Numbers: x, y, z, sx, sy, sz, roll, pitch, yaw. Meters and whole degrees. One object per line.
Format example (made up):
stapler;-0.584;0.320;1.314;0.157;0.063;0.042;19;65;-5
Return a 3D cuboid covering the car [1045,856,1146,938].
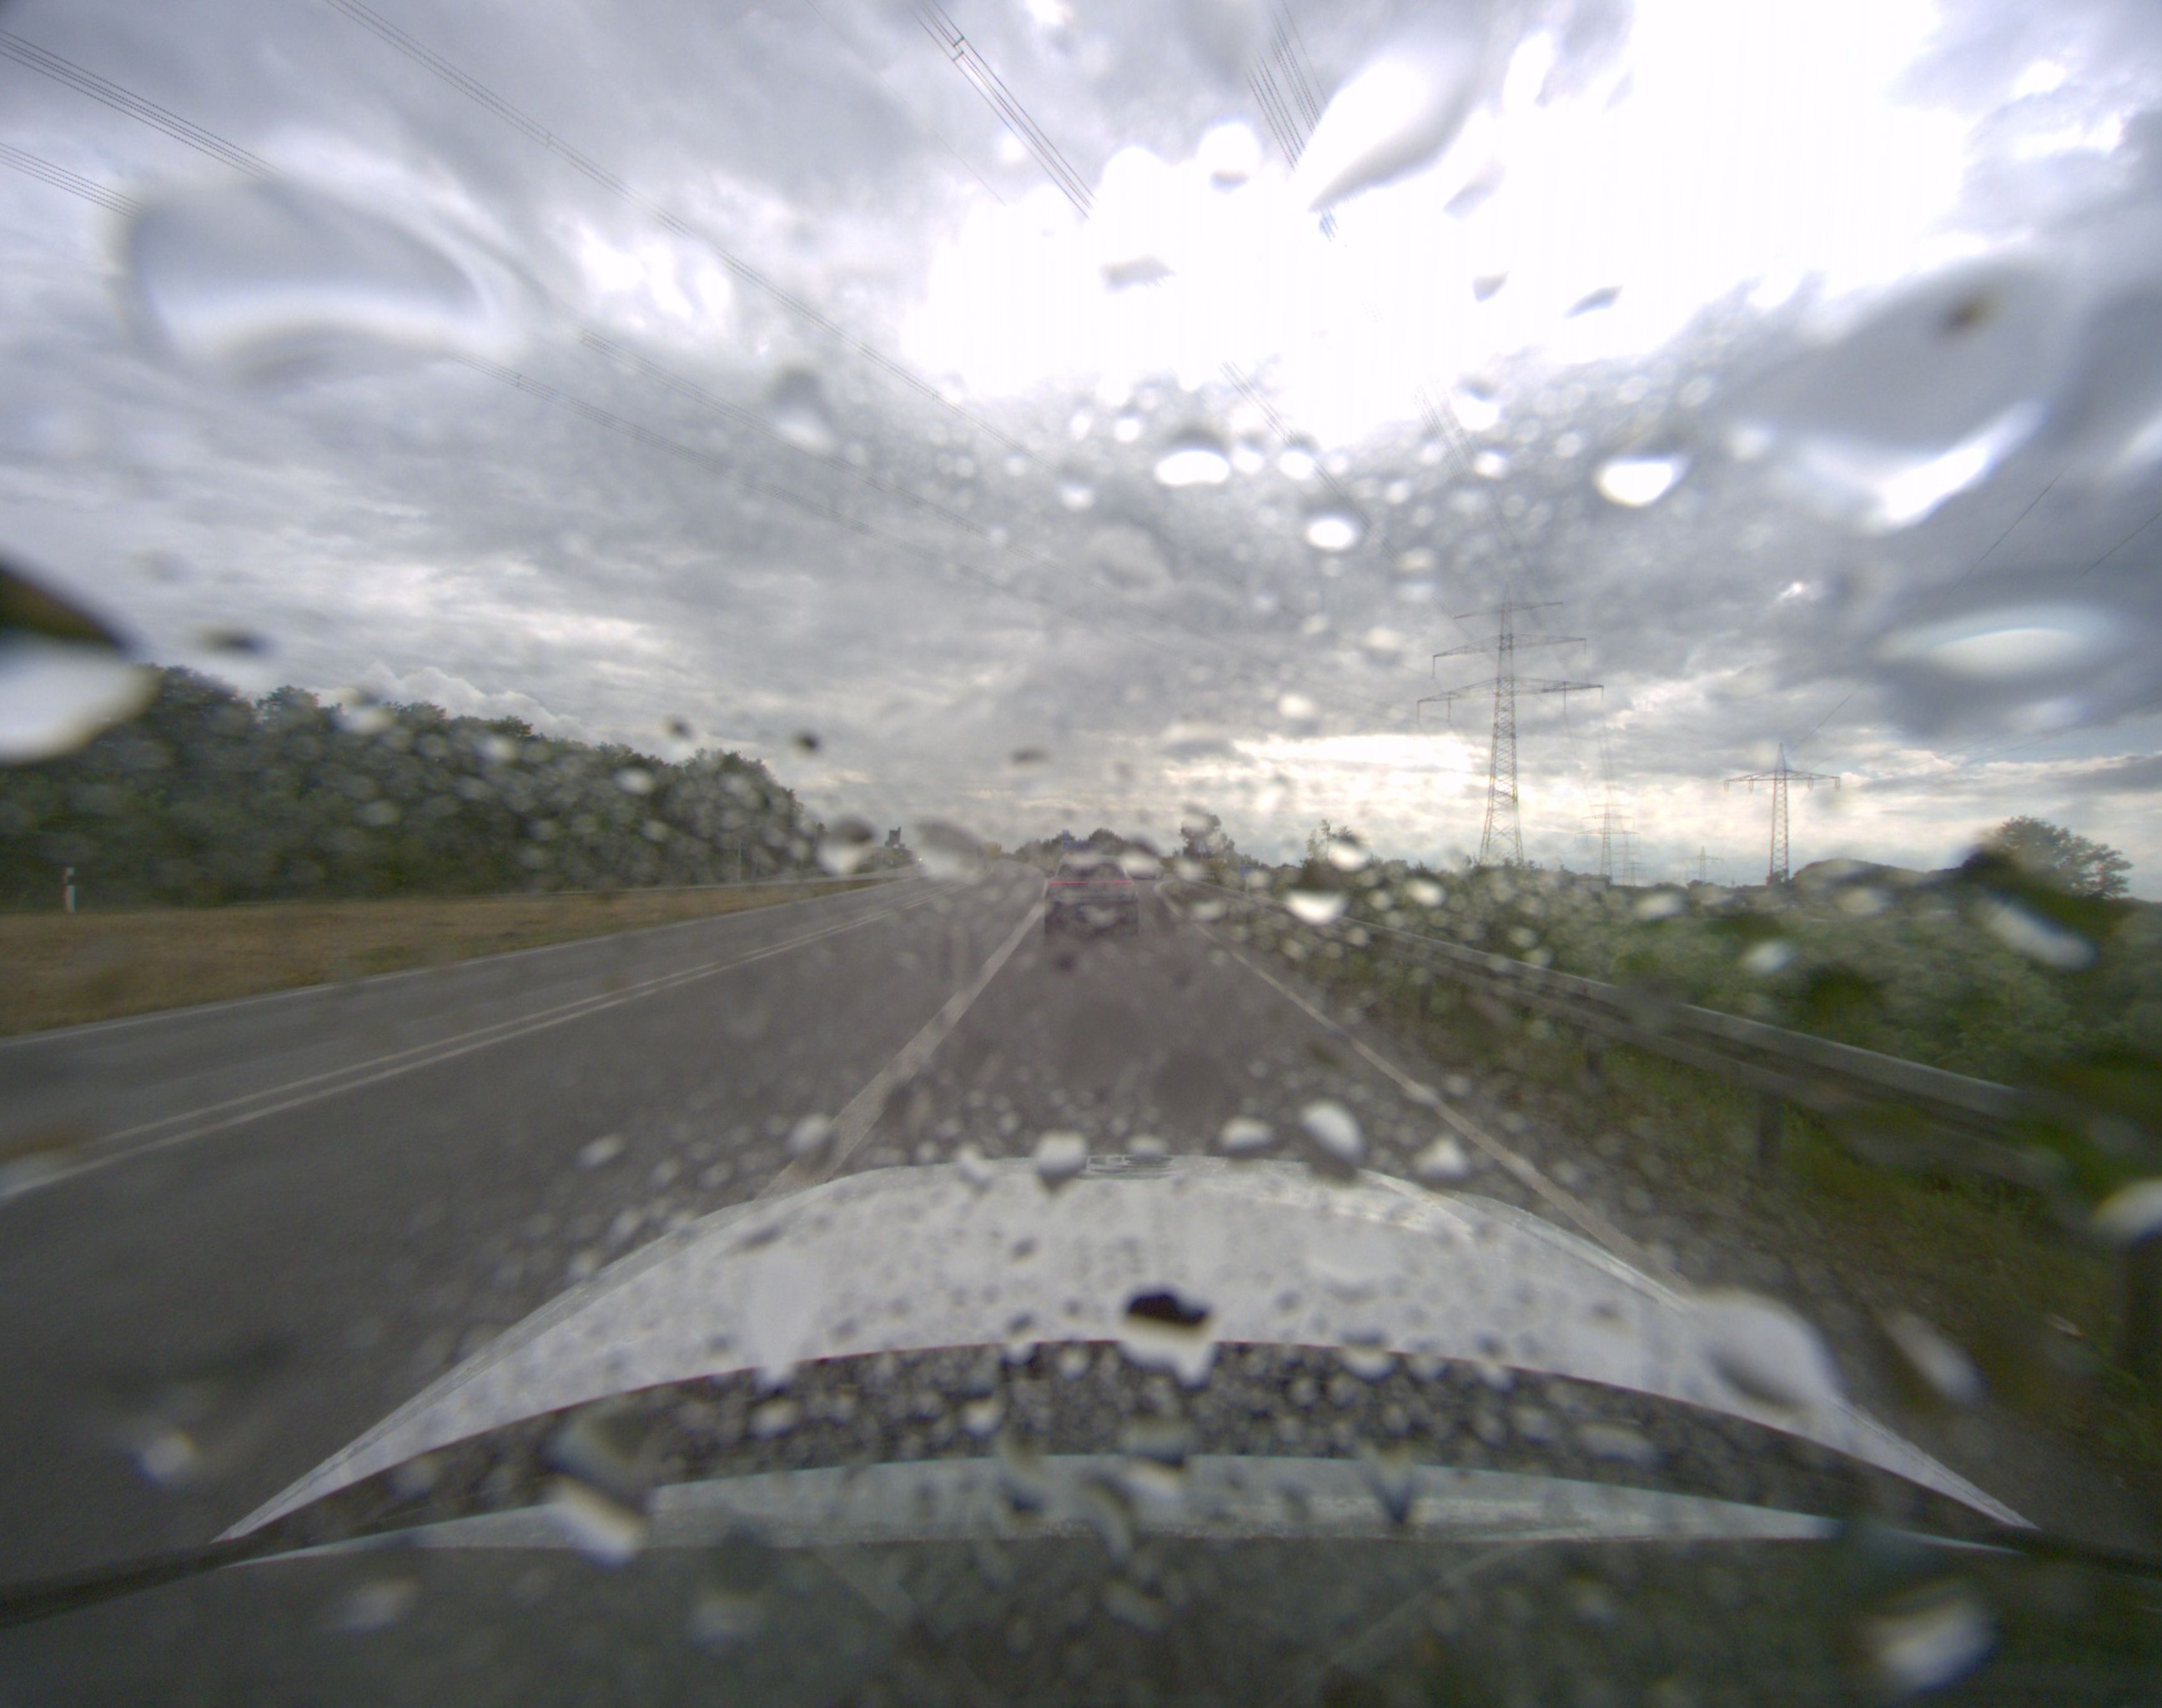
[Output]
car;0.256;0.808;16.510;1.786;1.441;3.999;0;-1;0

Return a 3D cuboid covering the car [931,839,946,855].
car;-23.845;-1.179;136.649;2.351;2.701;6.972;0;0;-9

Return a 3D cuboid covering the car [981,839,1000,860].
car;-12.650;-0.553;114.345;2.569;2.725;7.181;1;-1;-6

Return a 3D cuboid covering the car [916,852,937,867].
car;-14.495;0.532;76.708;1.744;1.365;4.037;-3;0;-9

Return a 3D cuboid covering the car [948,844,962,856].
car;-27.128;-0.813;175.163;2.604;2.251;5.511;1;-2;-12

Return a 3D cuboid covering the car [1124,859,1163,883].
car;4.177;1.108;53.874;1.778;1.441;4.016;3;1;15

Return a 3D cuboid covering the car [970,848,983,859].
car;-17.004;-0.027;132.378;1.791;1.688;3.986;1;-2;-9
